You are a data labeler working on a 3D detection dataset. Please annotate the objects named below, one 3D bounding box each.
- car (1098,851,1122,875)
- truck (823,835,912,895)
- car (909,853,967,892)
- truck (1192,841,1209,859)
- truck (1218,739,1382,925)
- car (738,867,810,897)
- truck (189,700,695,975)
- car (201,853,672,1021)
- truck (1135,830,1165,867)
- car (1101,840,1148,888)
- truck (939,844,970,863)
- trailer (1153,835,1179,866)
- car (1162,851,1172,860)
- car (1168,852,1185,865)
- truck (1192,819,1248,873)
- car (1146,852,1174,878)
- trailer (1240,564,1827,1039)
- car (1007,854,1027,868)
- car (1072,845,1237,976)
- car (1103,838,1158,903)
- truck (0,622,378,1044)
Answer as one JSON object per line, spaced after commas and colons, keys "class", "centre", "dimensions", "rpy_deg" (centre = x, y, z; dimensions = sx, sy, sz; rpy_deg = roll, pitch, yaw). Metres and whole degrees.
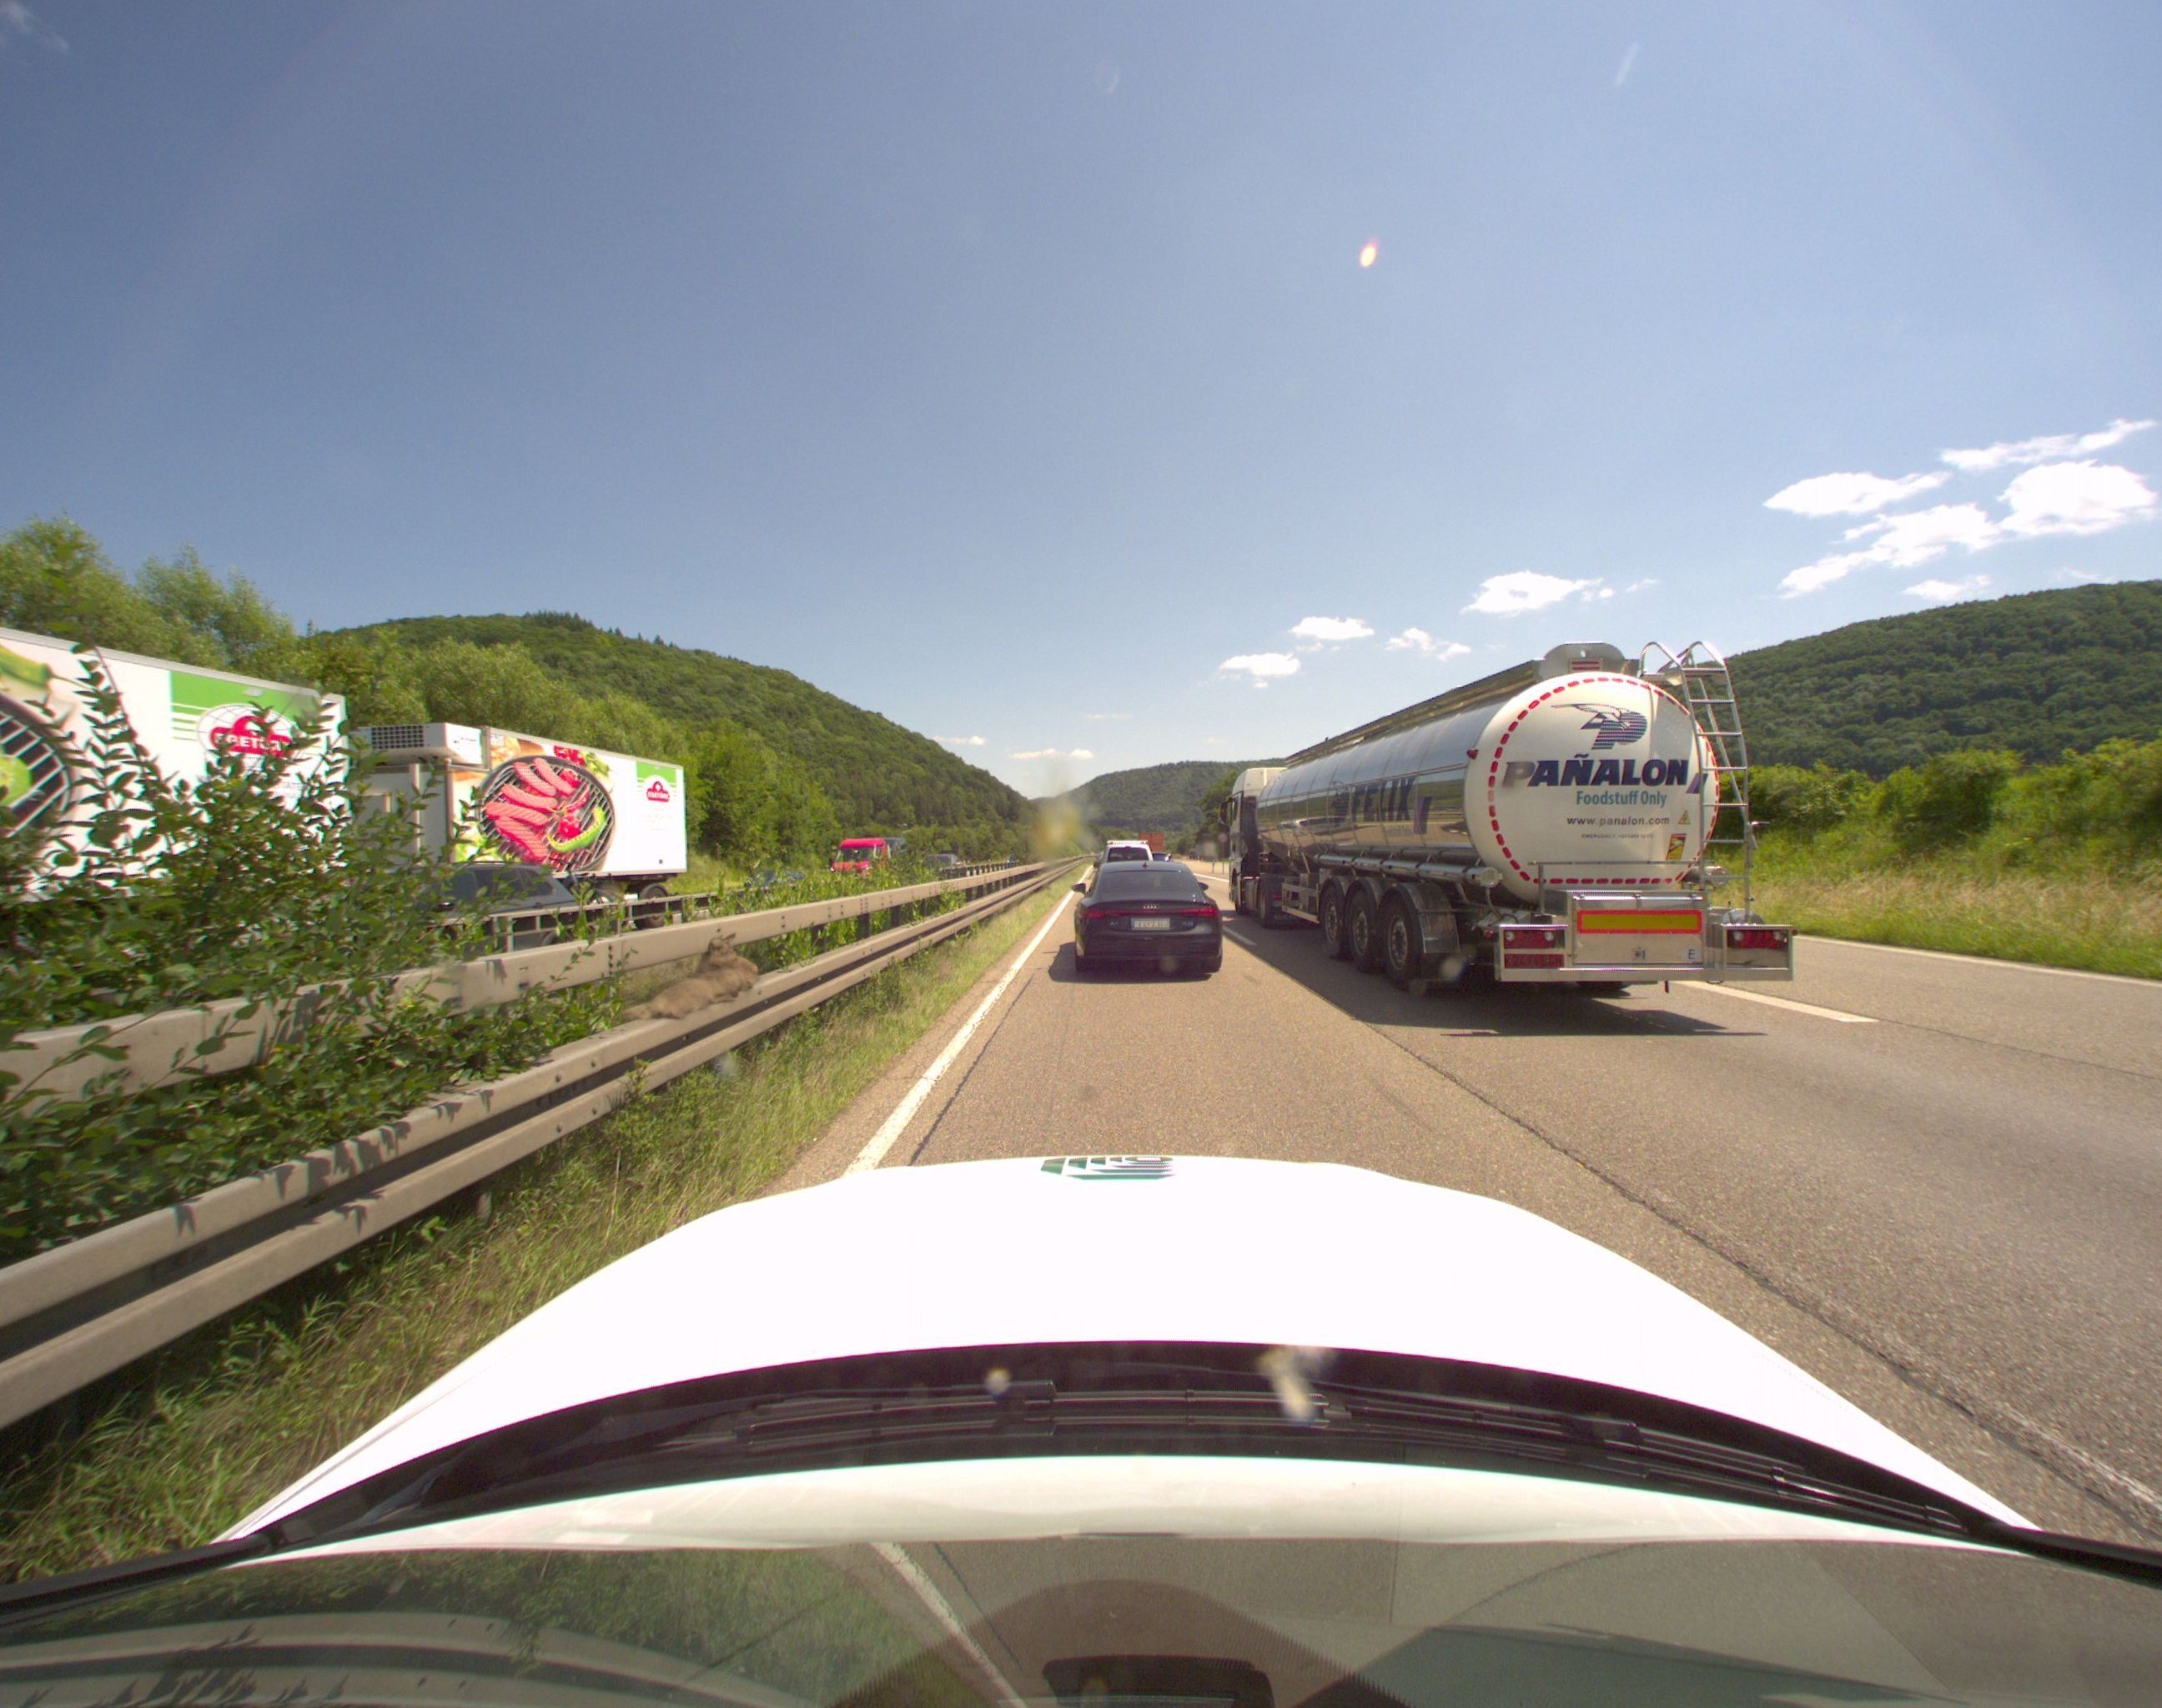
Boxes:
{"class": "car", "centre": [2.575, 0.767, 73.242], "dimensions": [1.986, 2.013, 4.001], "rpy_deg": [-2, 0, 1]}
{"class": "truck", "centre": [-10.183, 0.462, 39.687], "dimensions": [2.289, 2.588, 7.965], "rpy_deg": [-1, 0, -1]}
{"class": "car", "centre": [-6.239, 0.779, 36.039], "dimensions": [1.771, 1.599, 4.000], "rpy_deg": [-1, 0, 1]}
{"class": "truck", "centre": [31.072, -1.129, 211.185], "dimensions": [3.770, 4.414, 14.996], "rpy_deg": [-1, 0, 10]}
{"class": "truck", "centre": [4.894, -0.449, 19.176], "dimensions": [2.502, 3.758, 5.247], "rpy_deg": [-1, 0, 1]}
{"class": "car", "centre": [-15.533, 1.387, 41.445], "dimensions": [1.987, 1.356, 4.107], "rpy_deg": [-2, 0, 1]}
{"class": "truck", "centre": [-11.475, -0.251, 16.408], "dimensions": [2.859, 3.980, 9.034], "rpy_deg": [-1, 0, 1]}
{"class": "car", "centre": [-7.678, 0.822, 10.606], "dimensions": [1.986, 1.641, 5.034], "rpy_deg": [-1, 0, 2]}
{"class": "truck", "centre": [7.899, -0.606, 94.446], "dimensions": [2.806, 4.003, 14.965], "rpy_deg": [-1, 0, 3]}
{"class": "car", "centre": [1.893, 0.412, 36.453], "dimensions": [1.986, 2.013, 4.002], "rpy_deg": [-1, 0, 2]}
{"class": "truck", "centre": [-19.975, -0.078, 129.180], "dimensions": [3.569, 2.695, 8.448], "rpy_deg": [-1, 0, 0]}
{"class": "trailer", "centre": [12.984, -0.522, 124.988], "dimensions": [3.004, 4.382, 10.988], "rpy_deg": [-1, 0, 1]}
{"class": "car", "centre": [19.466, 0.288, 184.038], "dimensions": [1.984, 2.013, 4.005], "rpy_deg": [-1, 0, 5]}
{"class": "car", "centre": [11.554, 0.487, 98.835], "dimensions": [1.740, 1.530, 4.004], "rpy_deg": [-1, 0, 3]}
{"class": "truck", "centre": [11.418, -0.622, 68.301], "dimensions": [2.806, 4.003, 14.965], "rpy_deg": [-1, 0, 3]}
{"class": "car", "centre": [6.387, 0.829, 66.031], "dimensions": [1.985, 2.002, 4.003], "rpy_deg": [-2, 0, 3]}
{"class": "trailer", "centre": [4.749, -0.438, 12.402], "dimensions": [2.529, 3.735, 11.894], "rpy_deg": [-1, 0, 1]}
{"class": "car", "centre": [-7.693, 0.837, 98.711], "dimensions": [1.915, 1.621, 4.563], "rpy_deg": [-1, 0, 2]}
{"class": "car", "centre": [0.833, 0.645, 11.476], "dimensions": [1.844, 1.488, 4.080], "rpy_deg": [-1, 0, -2]}
{"class": "car", "centre": [1.480, 0.474, 25.434], "dimensions": [1.570, 1.833, 4.002], "rpy_deg": [-1, 0, 2]}
{"class": "truck", "centre": [-11.718, -0.183, 6.685], "dimensions": [2.859, 4.006, 10.173], "rpy_deg": [-1, 0, 1]}
